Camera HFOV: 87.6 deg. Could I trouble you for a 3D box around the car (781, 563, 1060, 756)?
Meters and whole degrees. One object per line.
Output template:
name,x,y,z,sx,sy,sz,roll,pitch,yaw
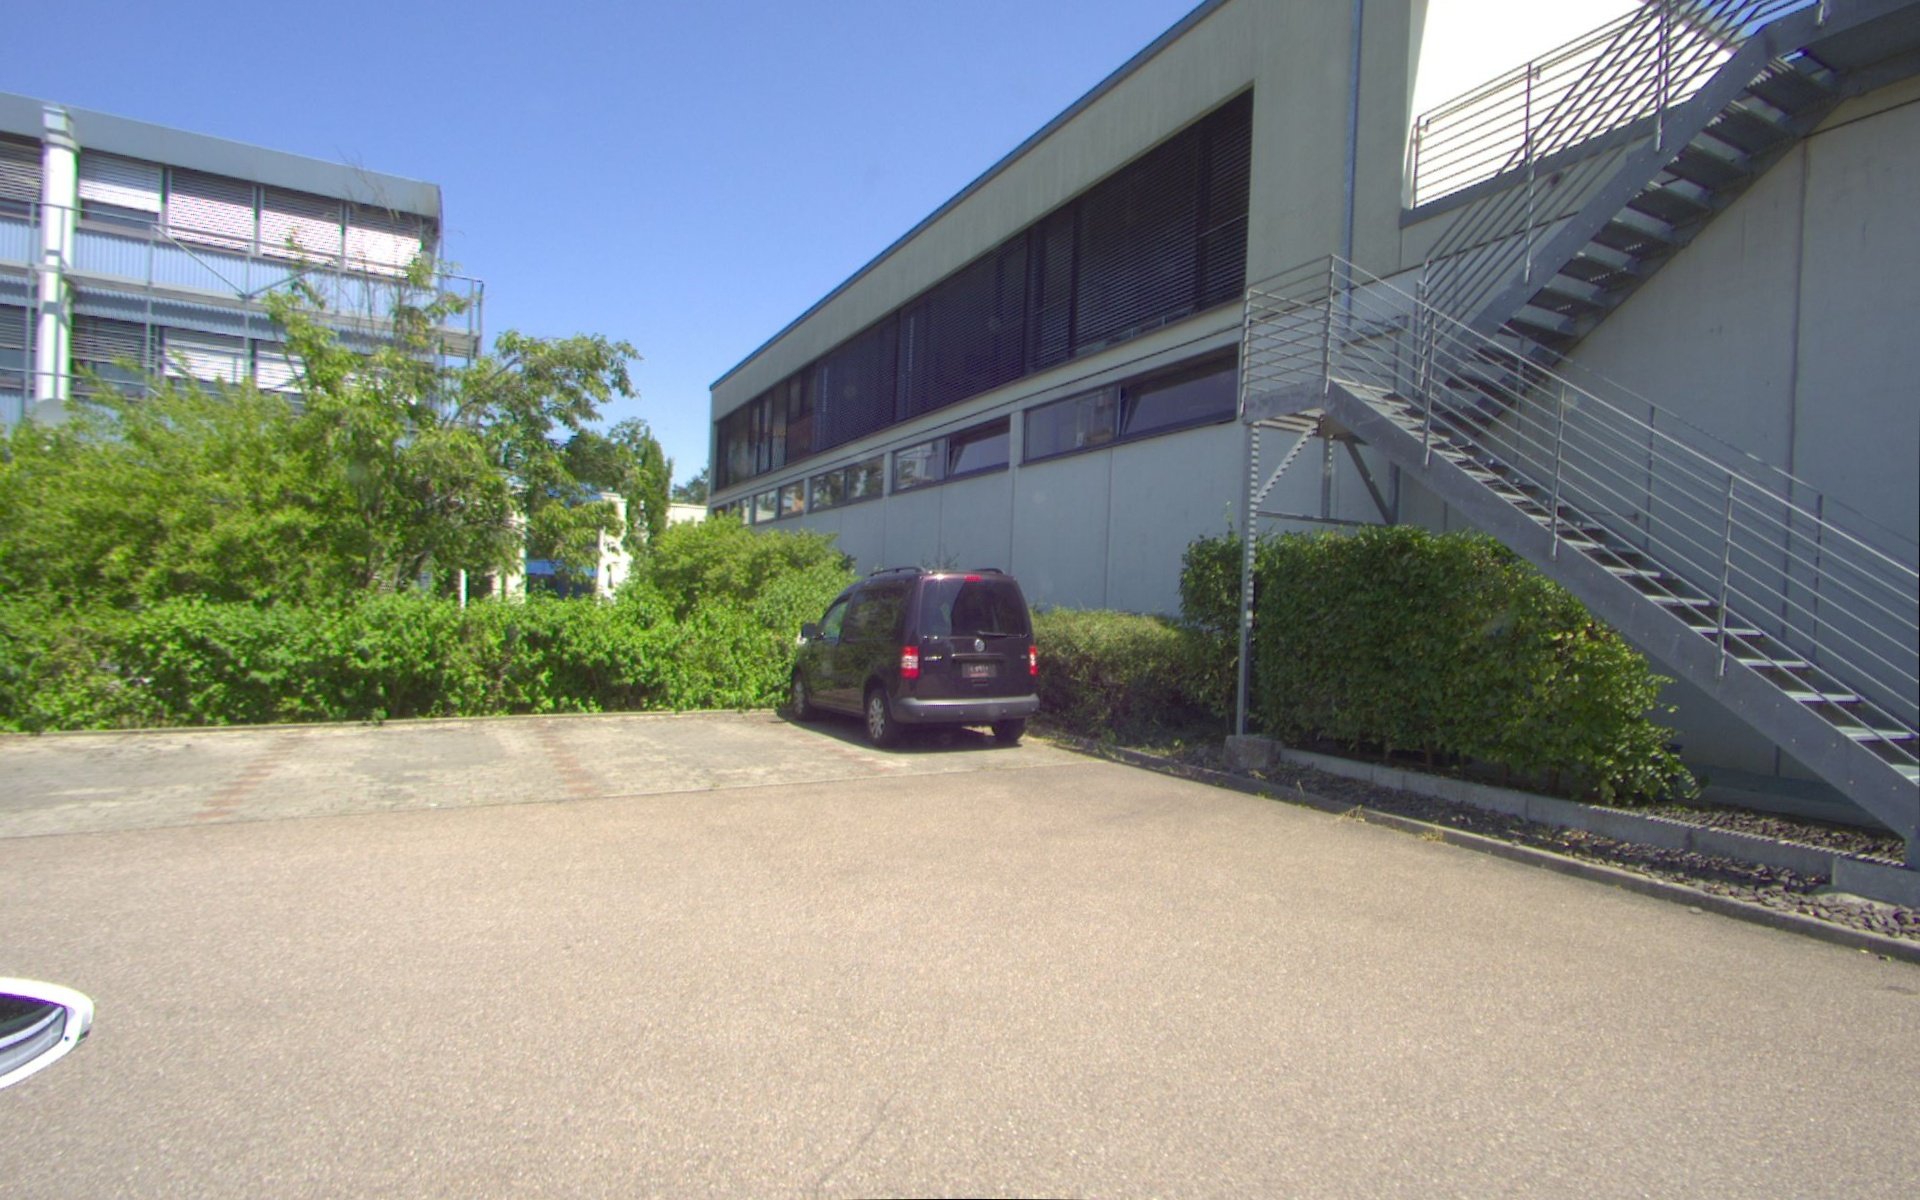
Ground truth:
car,-0.658,0.571,11.808,1.723,1.861,3.980,1,0,-28
